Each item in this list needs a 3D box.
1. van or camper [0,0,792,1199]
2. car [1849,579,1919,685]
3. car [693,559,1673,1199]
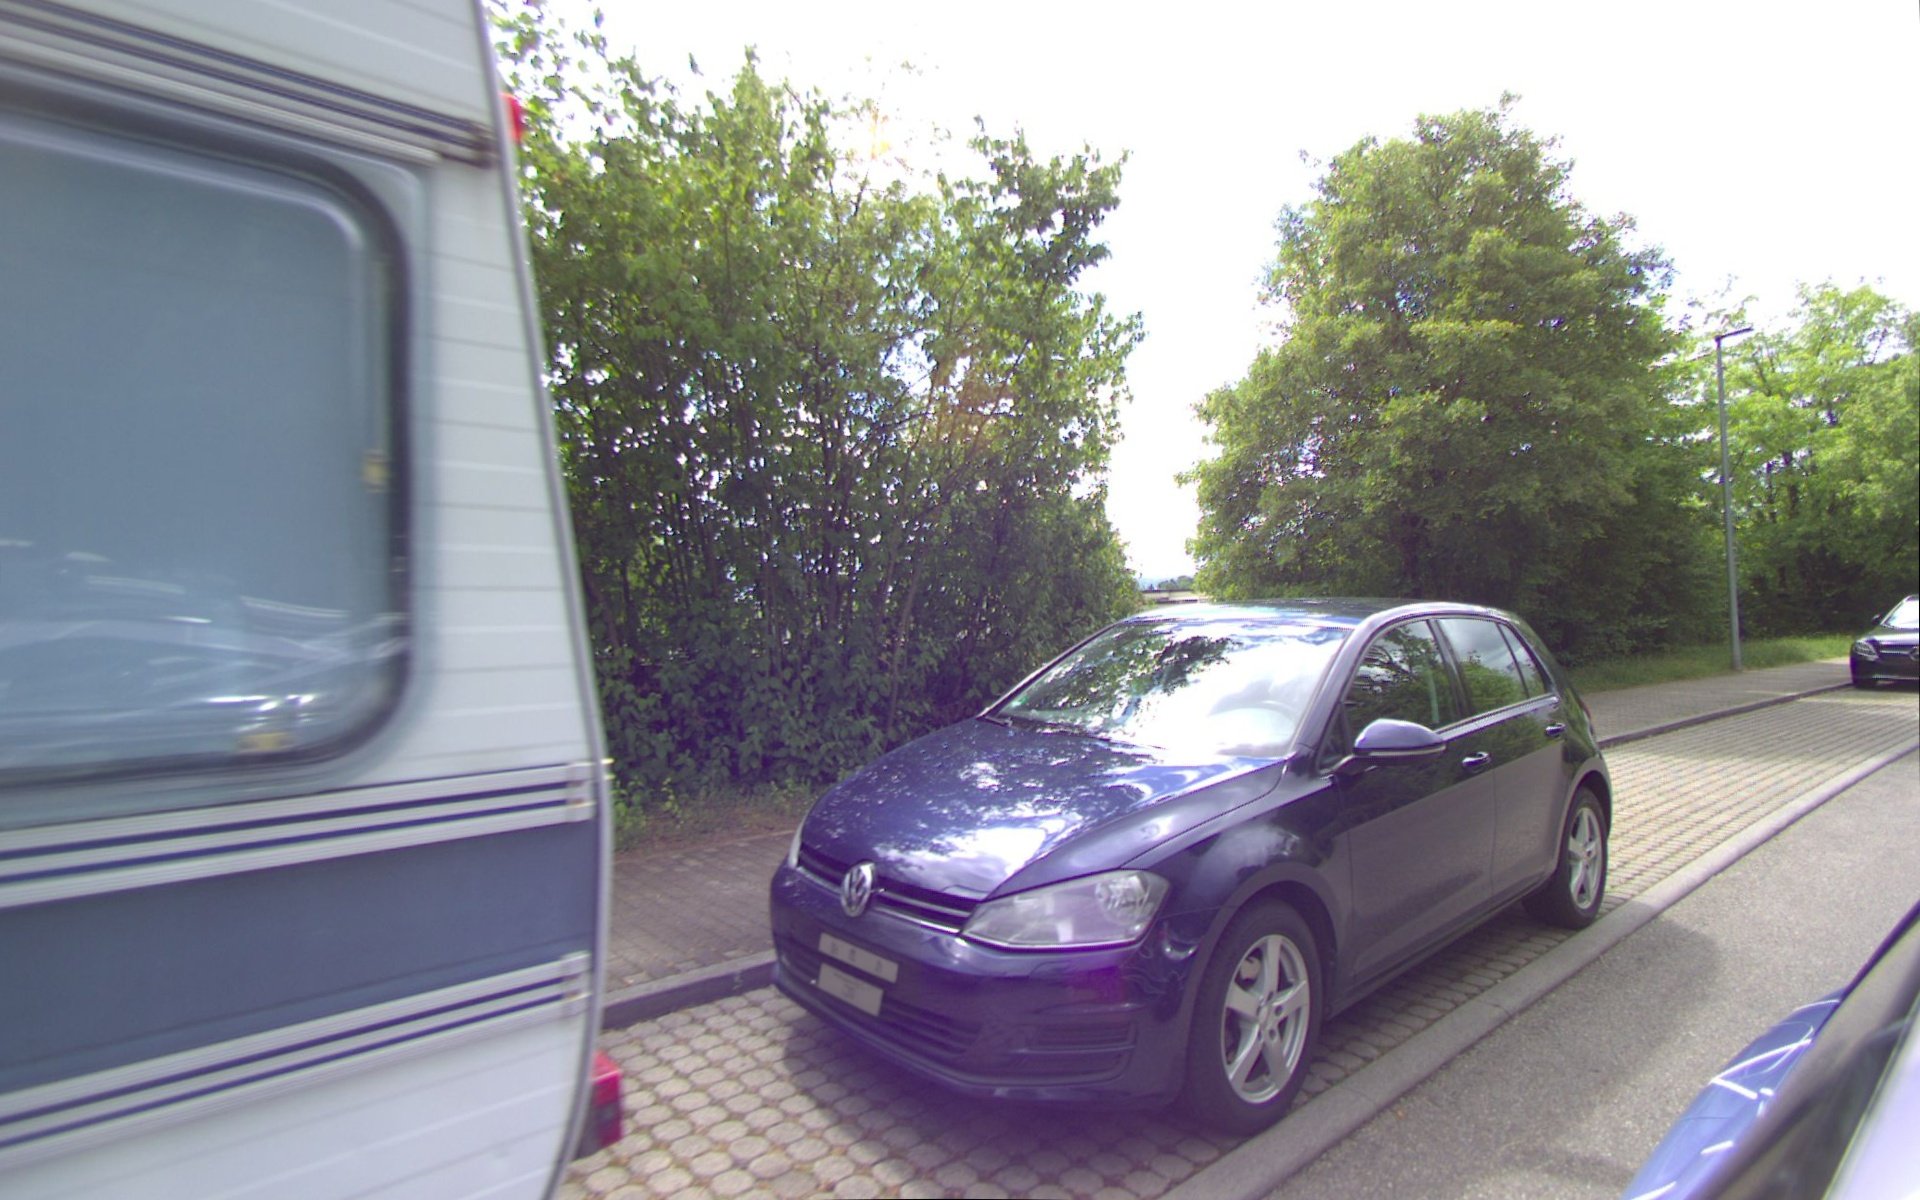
[{"bbox_3d":[-2.846,0.090,0.532,4.988,2.586,2.358,-1,1,-42],"label":"van or camper"},{"bbox_3d":[16.053,0.454,16.032,4.459,1.549,1.899,0,-1,-34],"label":"car"},{"bbox_3d":[1.322,0.633,4.155,4.404,1.469,1.684,-1,0,-42],"label":"car"}]
